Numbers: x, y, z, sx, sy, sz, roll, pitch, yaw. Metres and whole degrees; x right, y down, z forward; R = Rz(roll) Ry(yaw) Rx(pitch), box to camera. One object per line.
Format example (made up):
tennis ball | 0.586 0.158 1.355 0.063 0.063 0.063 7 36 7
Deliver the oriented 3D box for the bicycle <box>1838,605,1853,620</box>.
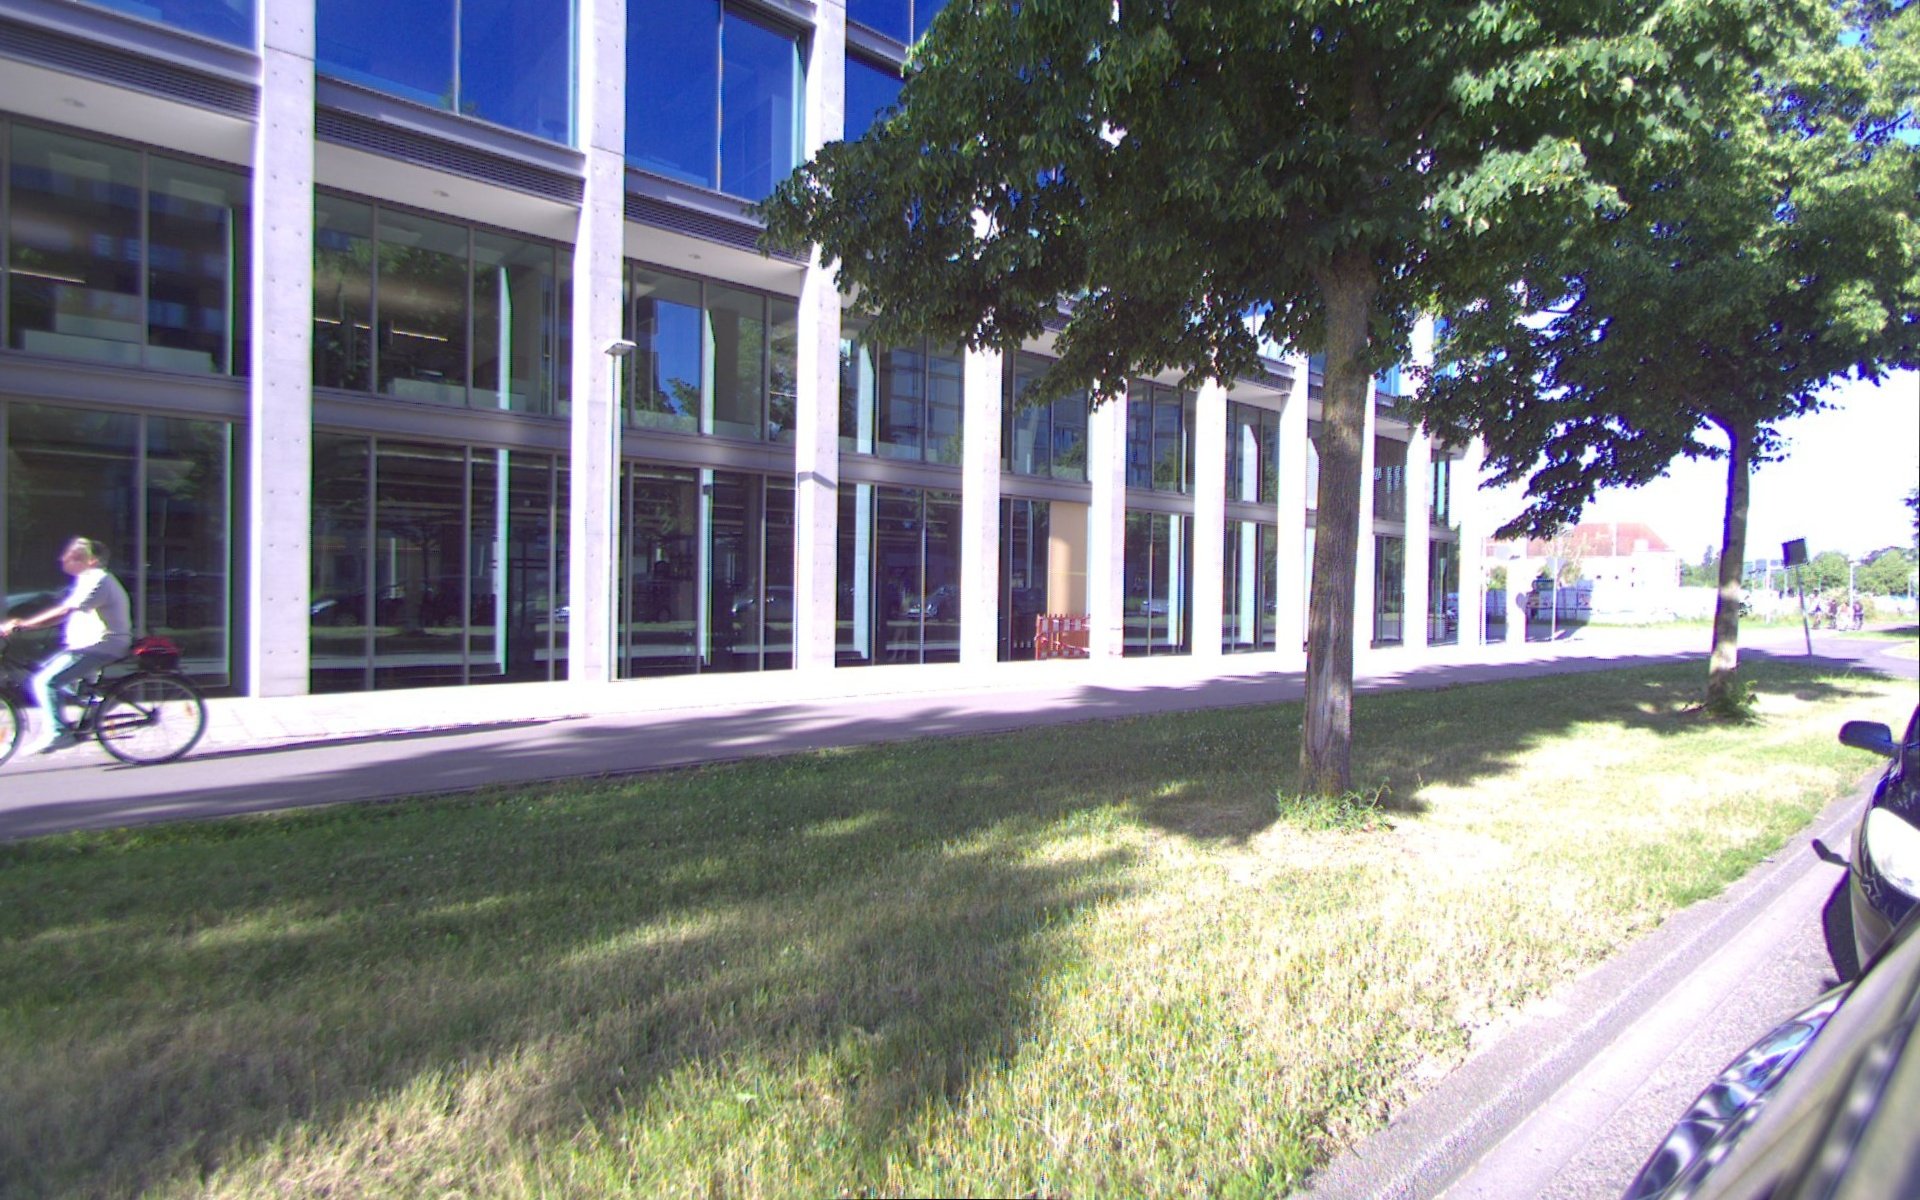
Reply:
bicycle | 51.962 0.740 59.378 1.321 0.828 0.464 -1 0 -40

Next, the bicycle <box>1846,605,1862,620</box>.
bicycle | 49.554 0.692 56.097 1.321 0.828 0.464 -1 0 -40

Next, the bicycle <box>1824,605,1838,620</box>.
bicycle | 49.082 0.686 57.029 1.296 0.828 0.415 -1 0 -40

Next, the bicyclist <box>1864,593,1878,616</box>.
bicyclist | 52.827 0.242 58.700 0.512 1.305 0.534 0 0 -40

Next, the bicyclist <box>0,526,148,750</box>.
bicyclist | -6.603 0.253 7.540 0.835 1.550 0.773 0 1 -41

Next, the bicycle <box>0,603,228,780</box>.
bicycle | -6.659 0.638 7.514 1.927 1.188 0.743 0 2 -41

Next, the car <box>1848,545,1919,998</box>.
car | 5.097 0.594 4.158 3.719 1.541 1.685 0 1 -41

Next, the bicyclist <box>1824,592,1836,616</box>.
bicyclist | 49.024 0.218 57.021 0.410 1.305 0.448 0 0 -40

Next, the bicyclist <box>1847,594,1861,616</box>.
bicyclist | 49.565 0.261 56.108 0.498 1.232 0.534 0 0 -40

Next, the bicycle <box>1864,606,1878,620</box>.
bicycle | 52.883 0.750 58.743 1.321 0.828 0.464 -1 0 -40

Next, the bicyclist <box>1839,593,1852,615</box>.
bicyclist | 51.936 0.244 59.361 0.449 1.305 0.534 0 0 -40
